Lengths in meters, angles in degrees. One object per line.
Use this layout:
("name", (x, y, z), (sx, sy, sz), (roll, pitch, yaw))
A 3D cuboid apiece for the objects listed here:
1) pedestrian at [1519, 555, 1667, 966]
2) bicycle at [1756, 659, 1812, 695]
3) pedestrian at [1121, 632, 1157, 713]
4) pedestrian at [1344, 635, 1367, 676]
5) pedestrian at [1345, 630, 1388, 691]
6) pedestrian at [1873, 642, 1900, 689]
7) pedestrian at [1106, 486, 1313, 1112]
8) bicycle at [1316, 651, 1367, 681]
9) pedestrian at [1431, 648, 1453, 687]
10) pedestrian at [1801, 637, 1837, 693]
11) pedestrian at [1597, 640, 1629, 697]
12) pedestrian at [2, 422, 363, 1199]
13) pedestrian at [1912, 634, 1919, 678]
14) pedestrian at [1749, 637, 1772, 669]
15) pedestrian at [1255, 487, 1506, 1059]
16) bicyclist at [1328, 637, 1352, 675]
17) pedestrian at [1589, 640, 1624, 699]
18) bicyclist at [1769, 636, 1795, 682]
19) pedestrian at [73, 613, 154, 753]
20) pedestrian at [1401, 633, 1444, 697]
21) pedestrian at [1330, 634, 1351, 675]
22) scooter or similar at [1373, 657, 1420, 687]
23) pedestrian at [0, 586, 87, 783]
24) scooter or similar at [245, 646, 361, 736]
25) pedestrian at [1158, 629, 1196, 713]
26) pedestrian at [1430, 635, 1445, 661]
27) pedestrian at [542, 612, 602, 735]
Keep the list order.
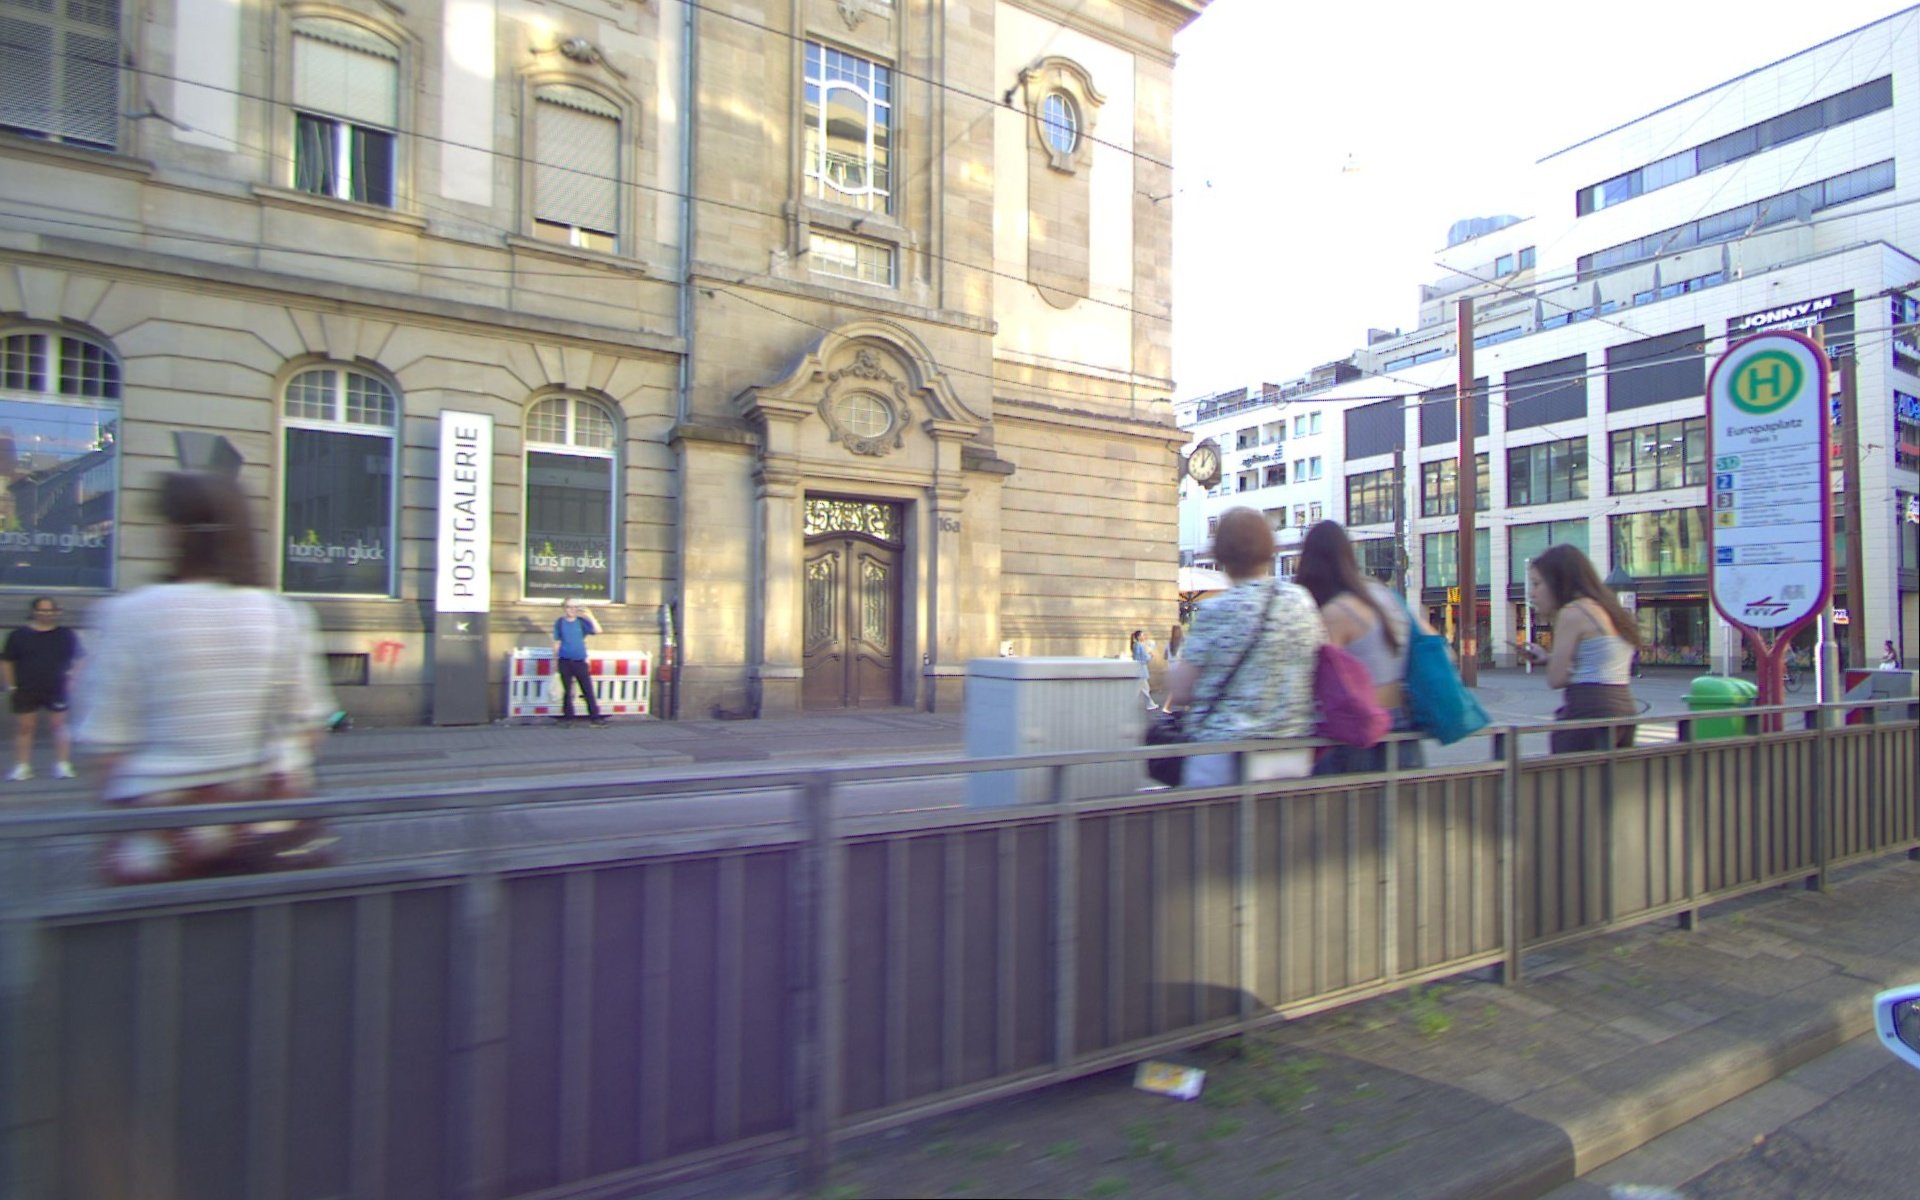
("pedestrian", (2.749, 0.658, 4.360), (0.497, 1.663, 0.355), (2, -1, -33))
("bicycle", (26.341, 2.465, 32.111), (1.995, 1.112, 0.571), (2, -1, -25))
("pedestrian", (3.509, 1.405, 19.680), (0.498, 1.545, 0.513), (2, -2, -45))
("pedestrian", (16.677, 2.329, 42.392), (0.744, 1.696, 0.527), (1, -2, -25))
("pedestrian", (11.345, 1.676, 28.029), (0.679, 1.650, 0.970), (1, -1, -13))
("pedestrian", (33.461, 2.363, 36.284), (0.643, 1.696, 0.526), (1, -2, -30))
("pedestrian", (0.800, 0.585, 3.218), (0.539, 1.819, 0.340), (2, -1, -33))
("bicycle", (15.398, 2.659, 40.624), (1.881, 1.130, 0.701), (1, -2, 19))
("pedestrian", (15.526, 2.178, 32.375), (0.476, 1.259, 0.412), (1, -2, -8))
("pedestrian", (26.472, 1.987, 30.964), (0.522, 1.696, 0.647), (1, -2, -22))
("pedestrian", (19.069, 1.977, 29.332), (0.759, 1.635, 0.665), (-1, -2, 34))
("pedestrian", (-1.659, 0.503, 2.205), (0.543, 1.663, 0.383), (2, -1, -33))
("pedestrian", (41.892, 2.429, 43.570), (0.804, 1.879, 0.572), (2, -1, -19))
("pedestrian", (40.196, 2.667, 50.432), (0.778, 1.546, 0.572), (2, -1, -19))
("pedestrian", (1.464, 0.552, 3.527), (0.586, 1.790, 0.537), (2, -1, -26))
("bicyclist", (15.357, 2.266, 40.655), (0.856, 1.484, 0.600), (1, -1, 18))
("pedestrian", (18.374, 1.959, 28.537), (0.810, 1.635, 0.691), (-1, -2, 34))
("bicyclist", (26.213, 1.883, 32.045), (0.555, 1.446, 0.420), (2, -1, -22))
("pedestrian", (-10.314, 0.986, 12.262), (0.624, 1.636, 0.695), (2, -1, -32))
("pedestrian", (12.423, 1.727, 26.956), (0.829, 1.650, 0.794), (2, -2, -42))
("pedestrian", (15.975, 2.272, 42.167), (0.642, 1.696, 0.527), (1, -2, -25))
("scooter or similar", (13.962, 2.292, 32.123), (0.879, 0.916, 1.088), (1, -2, -29))
("pedestrian", (-8.674, 0.781, 9.527), (0.557, 1.799, 0.463), (2, -2, -41))
("scooter or similar", (-9.155, 1.252, 14.042), (1.277, 1.197, 0.484), (2, -1, -29))
("pedestrian", (4.087, 1.327, 18.914), (0.520, 1.545, 0.500), (-1, -2, 42))
("pedestrian", (30.931, 3.101, 65.056), (0.568, 1.702, 0.670), (2, -1, -30))
("pedestrian", (-5.881, 1.091, 15.218), (0.699, 1.799, 0.616), (1, -2, -34))
